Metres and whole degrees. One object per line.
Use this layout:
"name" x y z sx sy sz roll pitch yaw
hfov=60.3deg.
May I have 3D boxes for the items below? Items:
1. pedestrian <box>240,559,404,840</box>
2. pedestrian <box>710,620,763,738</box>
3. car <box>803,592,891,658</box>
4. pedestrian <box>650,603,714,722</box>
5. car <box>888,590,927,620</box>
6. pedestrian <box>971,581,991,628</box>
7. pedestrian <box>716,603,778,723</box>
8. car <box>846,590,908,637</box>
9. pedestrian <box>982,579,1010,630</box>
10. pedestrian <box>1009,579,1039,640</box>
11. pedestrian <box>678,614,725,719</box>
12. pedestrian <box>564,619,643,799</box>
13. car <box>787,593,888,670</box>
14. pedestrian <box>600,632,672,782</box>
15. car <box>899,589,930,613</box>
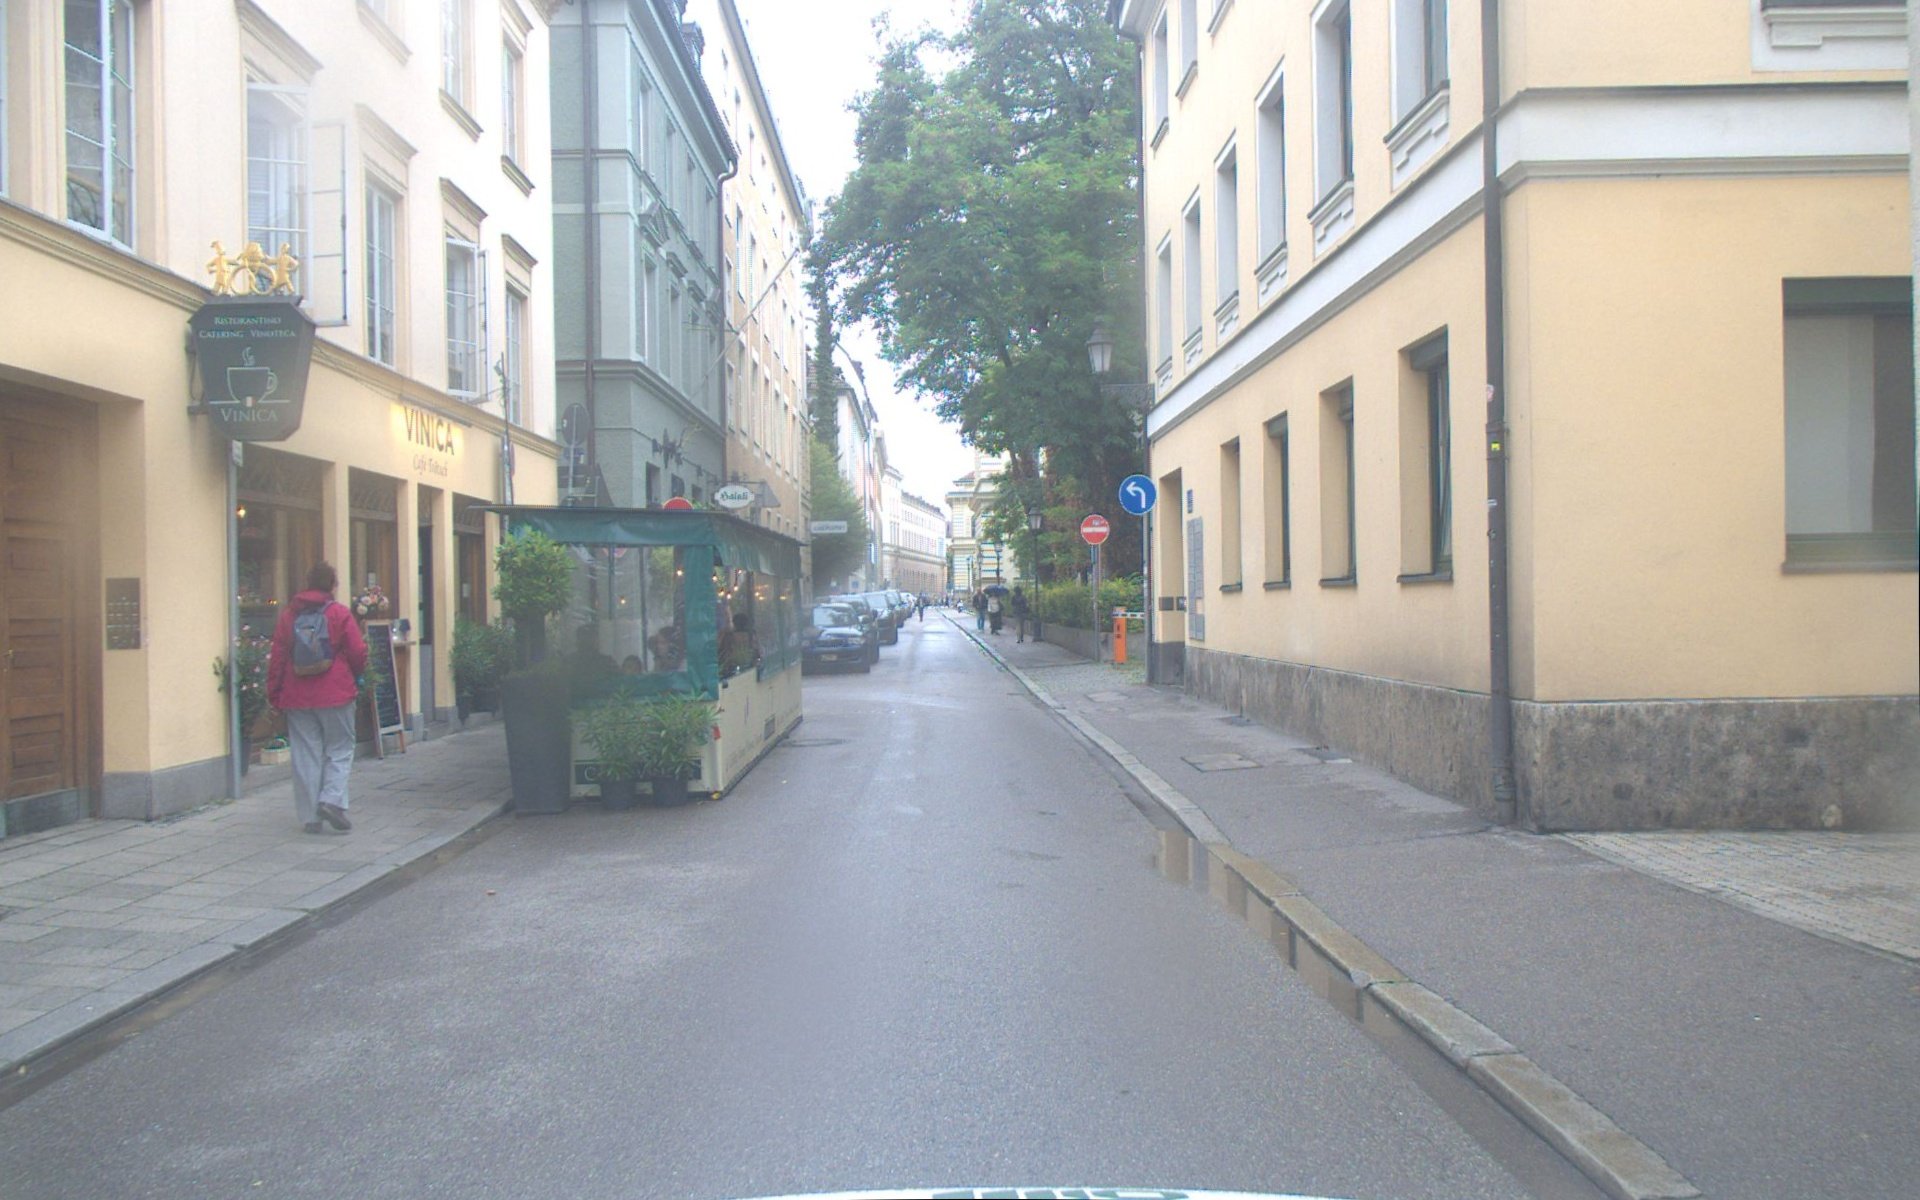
"pedestrian" -4.133 0.618 10.760 0.750 1.738 0.785 -1 0 -4
"pedestrian" -2.339 0.818 17.346 0.499 1.196 0.630 0 0 -3
"car" -2.615 0.560 39.050 1.742 1.492 3.543 0 0 2
"pedestrian" -3.229 0.710 19.251 0.660 1.350 0.696 0 0 -3
"car" -2.649 0.239 83.738 1.742 1.492 3.543 0 0 2
"pedestrian" 0.827 0.181 65.120 0.777 1.833 0.903 0 0 0
"pedestrian" -2.452 0.711 19.105 0.660 1.350 0.696 0 0 -3
"car" -2.678 0.424 54.007 1.742 1.492 3.543 0 0 2
"pedestrian" 1.319 0.153 60.508 0.995 1.833 1.349 0 0 0
"pedestrian" 1.946 0.293 50.268 0.862 1.833 1.046 0 0 0
"pedestrian" -3.144 0.801 20.163 0.499 1.259 0.630 0 0 -3
"pedestrian" -2.763 0.828 12.858 0.499 1.350 0.630 0 0 -3
"car" -2.493 0.616 34.455 1.742 1.492 3.663 0 0 2
"pedestrian" -2.710 0.885 13.871 0.499 1.208 0.630 0 0 -3
"car" -2.836 0.026 104.405 1.742 1.492 3.543 0 0 2
